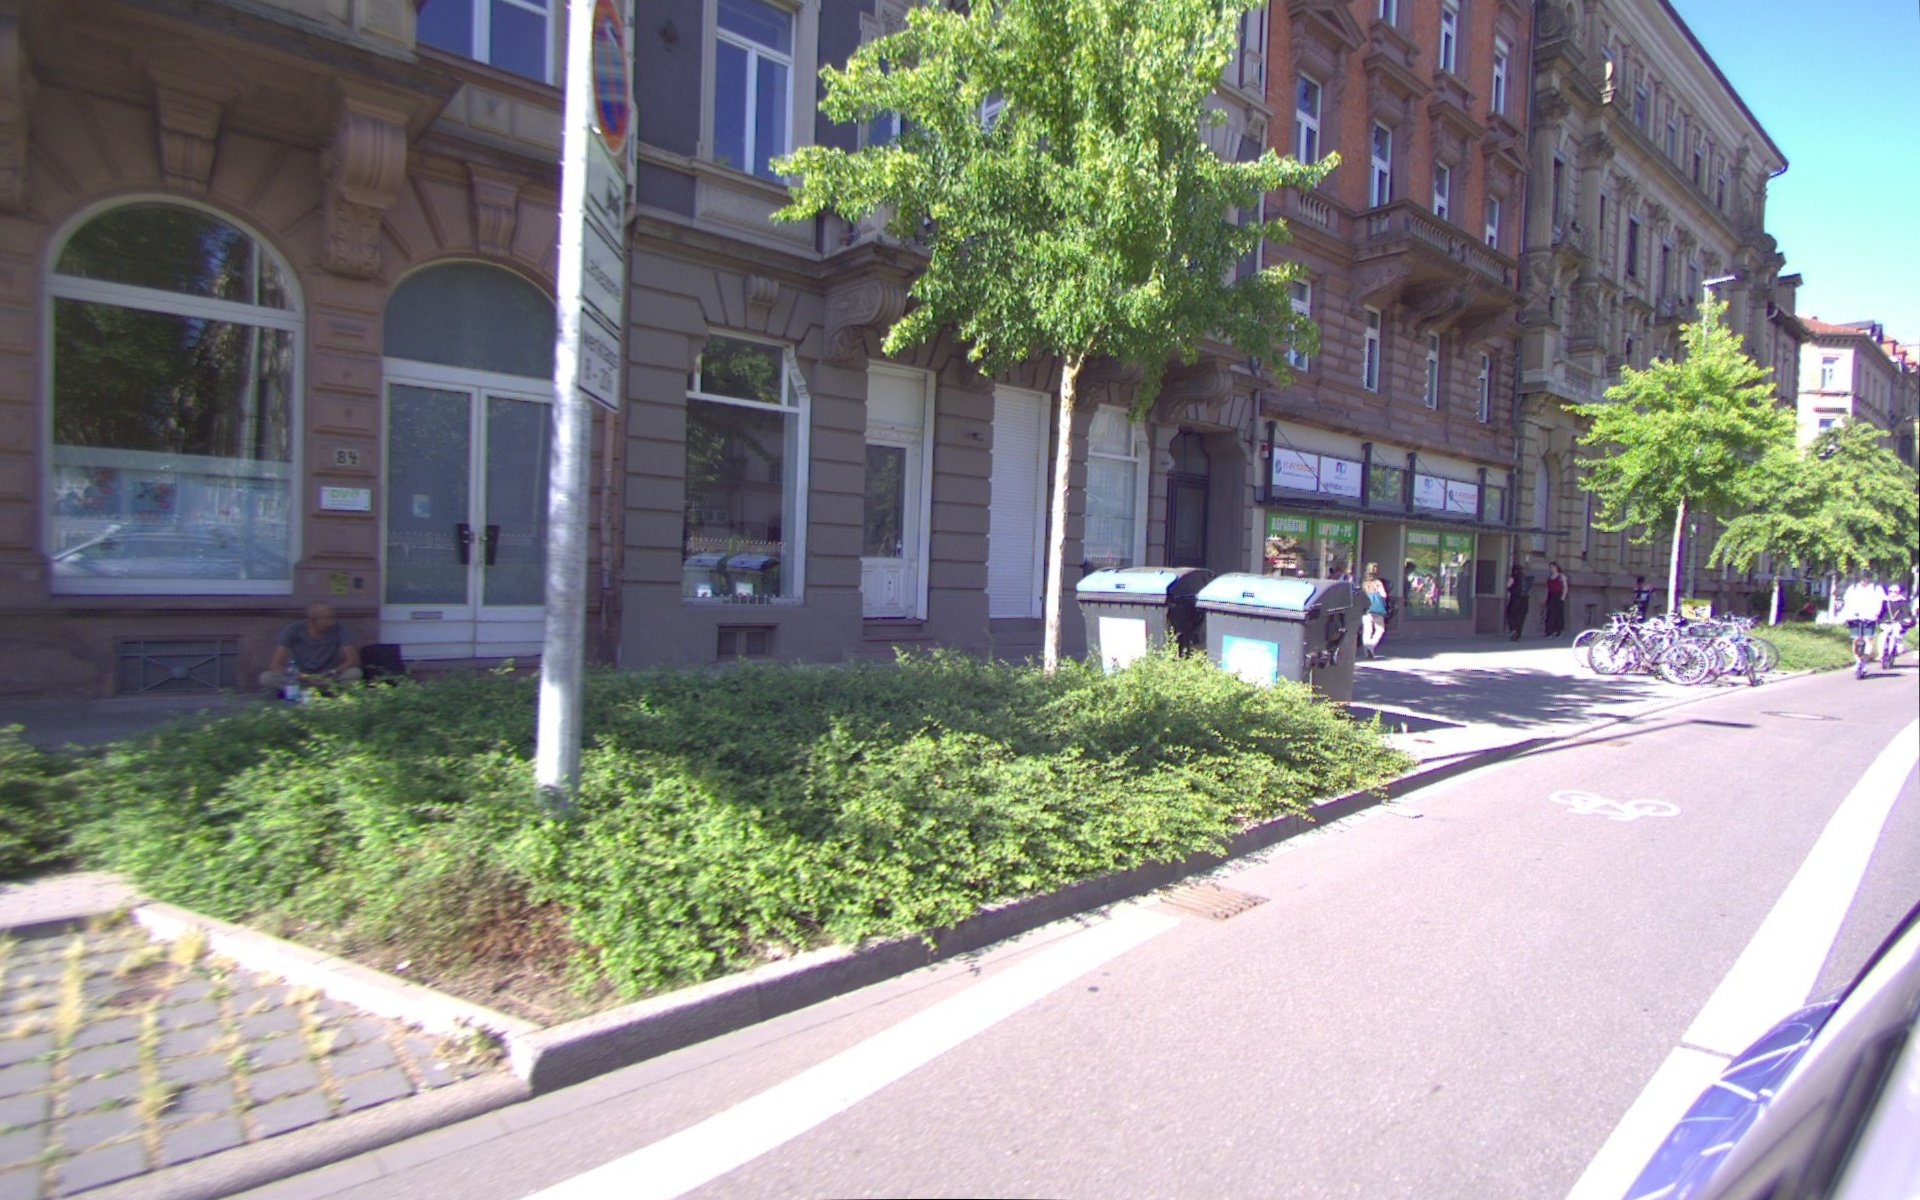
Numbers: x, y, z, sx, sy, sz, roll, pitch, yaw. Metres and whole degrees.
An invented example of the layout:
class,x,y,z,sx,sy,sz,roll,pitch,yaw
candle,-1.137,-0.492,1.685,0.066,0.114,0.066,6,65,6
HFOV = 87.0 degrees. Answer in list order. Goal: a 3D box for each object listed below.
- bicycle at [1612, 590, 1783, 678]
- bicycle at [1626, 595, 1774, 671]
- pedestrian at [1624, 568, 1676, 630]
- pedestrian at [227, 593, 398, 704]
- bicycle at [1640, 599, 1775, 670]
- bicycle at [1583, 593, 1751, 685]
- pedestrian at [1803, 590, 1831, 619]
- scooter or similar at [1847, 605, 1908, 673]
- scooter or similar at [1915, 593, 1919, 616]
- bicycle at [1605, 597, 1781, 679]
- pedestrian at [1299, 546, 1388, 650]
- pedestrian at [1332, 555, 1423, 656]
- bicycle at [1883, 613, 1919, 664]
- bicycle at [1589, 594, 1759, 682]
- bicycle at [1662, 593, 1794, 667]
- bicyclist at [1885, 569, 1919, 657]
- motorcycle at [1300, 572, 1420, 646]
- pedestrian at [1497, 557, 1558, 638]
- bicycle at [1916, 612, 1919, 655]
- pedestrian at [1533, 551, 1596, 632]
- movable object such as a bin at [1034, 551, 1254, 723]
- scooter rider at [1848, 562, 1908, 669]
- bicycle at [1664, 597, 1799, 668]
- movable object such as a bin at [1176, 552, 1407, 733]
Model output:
class,x,y,z,sx,sy,sz,roll,pitch,yaw
bicycle,11.993,0.528,16.537,2.142,1.168,0.424,7,5,37
bicycle,12.923,0.551,17.736,0.428,1.121,1.980,-1,5,-43
pedestrian,20.253,-0.046,29.699,1.095,1.712,0.971,-1,4,-44
pedestrian,-5.404,0.367,8.462,0.867,0.828,0.968,1,2,36
bicycle,13.205,0.581,17.925,1.816,1.068,0.562,6,4,44
bicycle,10.858,0.565,15.609,1.977,1.137,0.474,8,5,45
pedestrian,36.127,0.189,42.659,0.866,1.197,0.719,-1,3,-41
scooter or similar,16.666,0.695,18.385,1.130,1.172,0.647,0,1,-39
scooter or similar,51.939,0.277,54.131,0.479,1.212,1.197,0,2,-45
bicycle,12.155,0.598,16.869,2.279,1.115,0.480,5,4,36
pedestrian,6.462,-0.038,17.079,0.975,1.659,0.973,1,2,-41
pedestrian,6.977,0.078,16.911,1.061,1.586,0.952,2,2,-41
bicycle,20.505,0.809,21.833,1.919,1.019,0.724,0,1,-43
bicycle,11.157,0.557,15.877,2.045,1.120,0.601,7,6,44
bicycle,14.075,0.524,18.597,0.367,1.193,1.869,-1,3,-43
bicyclist,20.512,0.271,21.829,1.072,1.840,0.724,0,1,-43
motorcycle,7.729,0.133,19.463,2.930,1.281,0.868,-1,4,-41
pedestrian,12.965,-0.069,23.132,0.887,1.756,0.848,0,6,-44
bicycle,23.599,0.805,24.314,1.918,1.019,0.724,0,1,-41
pedestrian,15.179,-0.220,25.422,1.077,1.943,0.893,0,4,-35
movable object such as a bin,1.882,0.308,10.394,1.718,1.513,1.377,-1,5,-39
scooter rider,16.653,0.260,18.359,0.882,1.890,0.662,0,1,-40
bicycle,14.323,0.578,18.844,0.509,1.122,1.893,-1,5,-45
movable object such as a bin,3.035,0.364,9.278,1.612,1.482,1.275,3,-1,-36
